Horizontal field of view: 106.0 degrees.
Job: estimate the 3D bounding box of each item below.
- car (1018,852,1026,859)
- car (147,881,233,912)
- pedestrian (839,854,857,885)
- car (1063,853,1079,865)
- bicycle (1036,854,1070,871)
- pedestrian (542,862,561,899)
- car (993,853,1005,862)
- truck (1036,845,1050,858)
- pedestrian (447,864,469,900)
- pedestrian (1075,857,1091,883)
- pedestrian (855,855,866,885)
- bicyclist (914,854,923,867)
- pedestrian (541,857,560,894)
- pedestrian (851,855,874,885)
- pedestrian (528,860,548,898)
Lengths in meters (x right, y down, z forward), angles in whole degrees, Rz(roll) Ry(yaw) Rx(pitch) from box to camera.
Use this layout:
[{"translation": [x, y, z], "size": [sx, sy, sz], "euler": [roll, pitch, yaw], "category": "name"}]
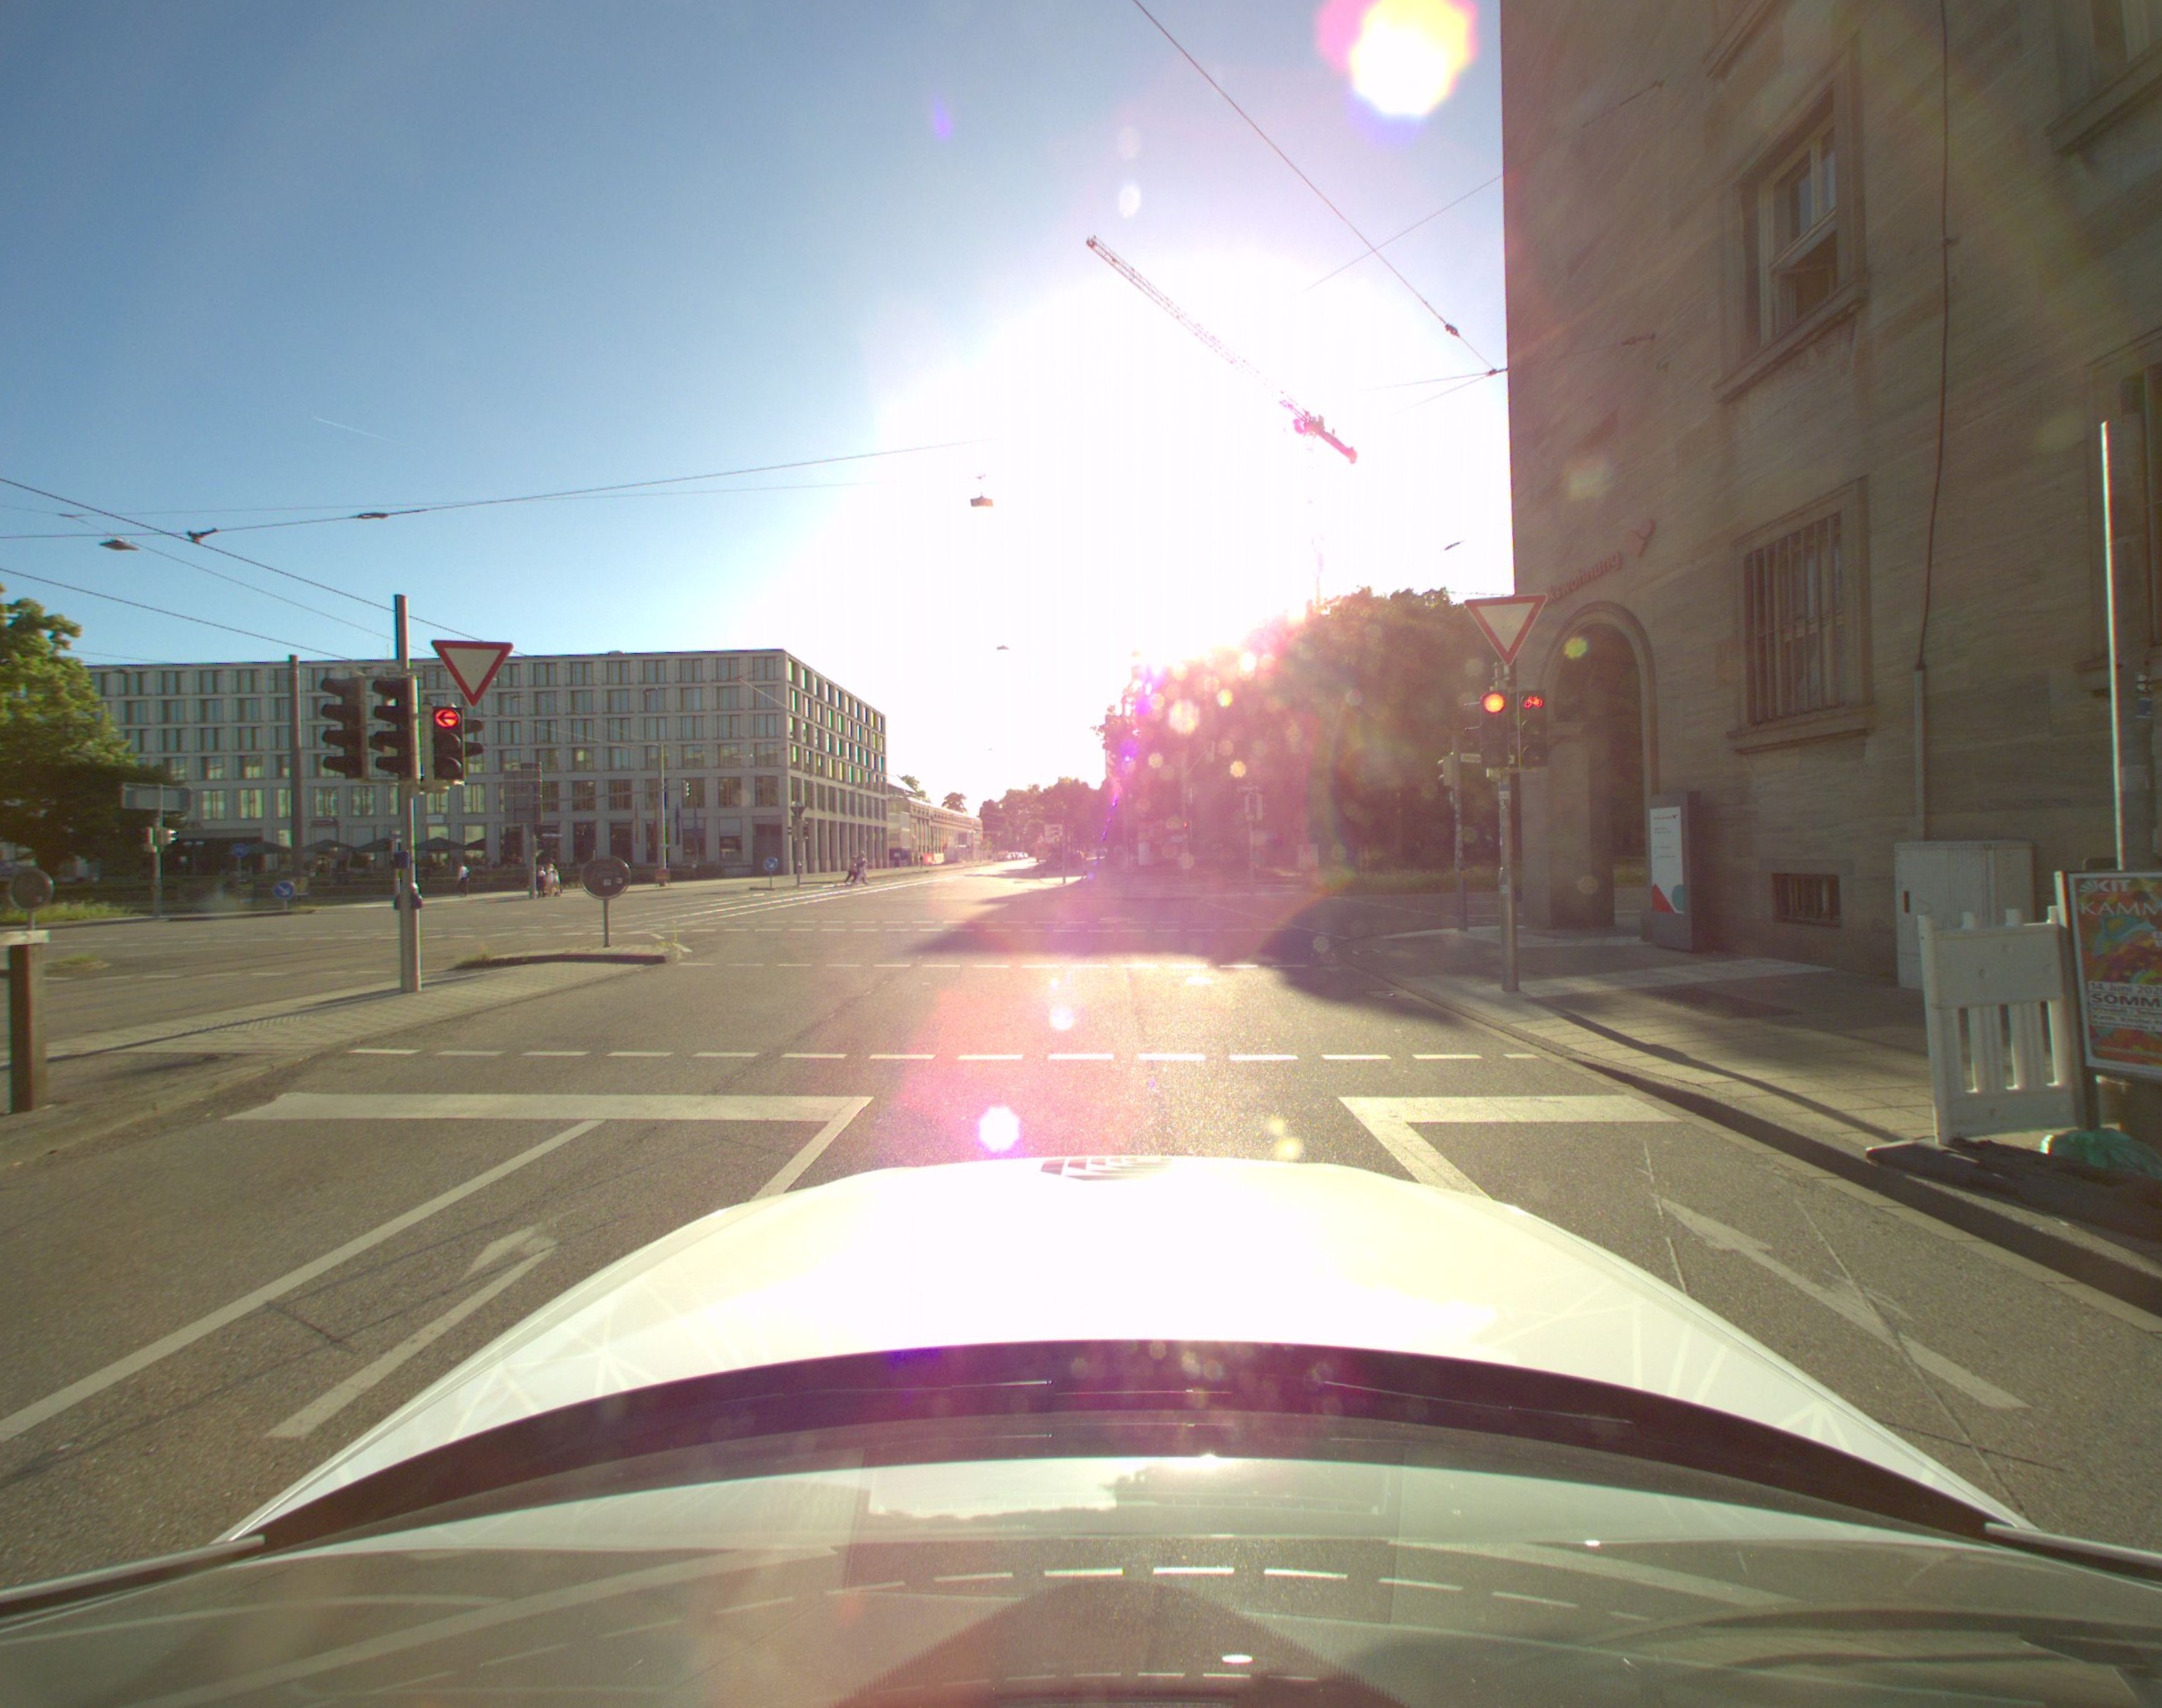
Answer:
[{"translation": [-14.066, 0.332, 194.555], "size": [1.478, 1.750, 4.002], "euler": [-2, 0, 2], "category": "car"}, {"translation": [-46.806, 2.222, 42.796], "size": [3.167, 1.438, 1.474], "euler": [-2, 0, 8], "category": "car"}, {"translation": [-12.681, 0.830, 44.358], "size": [0.792, 1.639, 0.534], "euler": [-2, 0, 4], "category": "pedestrian"}, {"translation": [-1.098, 0.503, 92.058], "size": [1.814, 1.279, 3.999], "euler": [-2, 0, 0], "category": "car"}, {"translation": [-2.323, 0.724, 67.364], "size": [2.728, 1.367, 0.633], "euler": [-1, -1, 12], "category": "bicycle"}, {"translation": [-29.547, 1.472, 45.431], "size": [0.528, 2.013, 0.800], "euler": [-2, 0, -5], "category": "pedestrian"}, {"translation": [-15.768, 0.658, 156.784], "size": [1.724, 1.653, 4.002], "euler": [-2, 0, 2], "category": "car"}, {"translation": [-6.135, -0.366, 131.373], "size": [1.908, 2.092, 4.002], "euler": [-2, 0, 2], "category": "truck"}, {"translation": [-33.766, 1.524, 44.148], "size": [0.557, 1.903, 0.684], "euler": [-2, 0, 10], "category": "pedestrian"}, {"translation": [0.122, 0.864, 44.232], "size": [0.748, 1.332, 0.744], "euler": [-2, 0, 6], "category": "pedestrian"}, {"translation": [-12.279, 0.894, 45.350], "size": [0.440, 1.662, 0.376], "euler": [-2, 0, 1], "category": "pedestrian"}, {"translation": [-20.693, 0.854, 103.762], "size": [0.872, 1.641, 0.822], "euler": [-2, 0, 3], "category": "bicyclist"}, {"translation": [-29.351, 1.206, 45.054], "size": [0.528, 2.013, 0.800], "euler": [-2, 0, -5], "category": "pedestrian"}, {"translation": [-11.707, 0.838, 43.617], "size": [0.980, 1.587, 0.661], "euler": [-2, -1, 3], "category": "pedestrian"}, {"translation": [-29.380, 1.362, 44.038], "size": [0.528, 2.013, 0.800], "euler": [-2, 0, -5], "category": "pedestrian"}]
